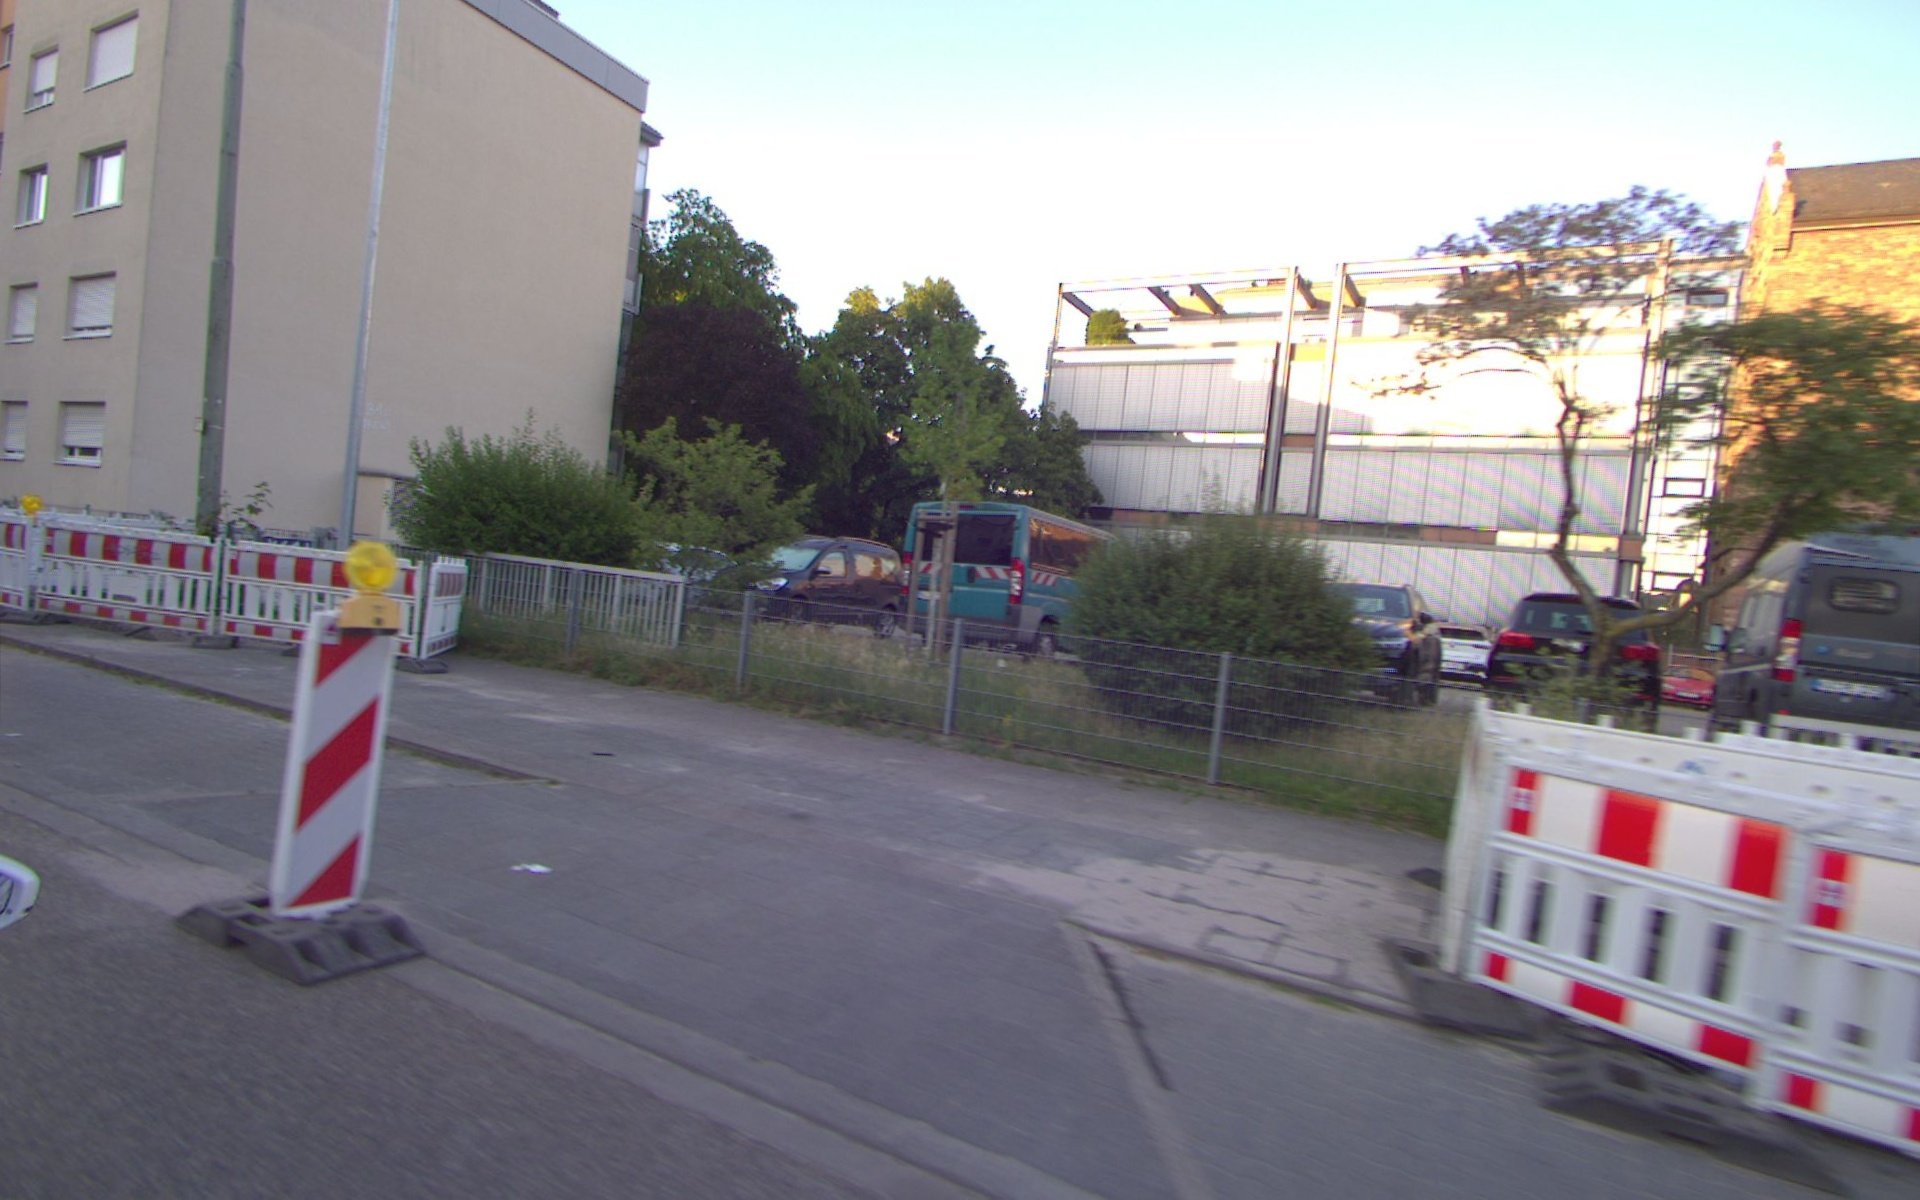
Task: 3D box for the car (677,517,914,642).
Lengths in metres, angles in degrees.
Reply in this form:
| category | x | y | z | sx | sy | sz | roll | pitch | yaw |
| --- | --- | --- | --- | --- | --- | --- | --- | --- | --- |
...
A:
| category | x | y | z | sx | sy | sz | roll | pitch | yaw |
| --- | --- | --- | --- | --- | --- | --- | --- | --- | --- |
| car | -2.882 | -0.292 | 18.537 | 1.966 | 1.849 | 4.217 | 7 | 1 | 30 |

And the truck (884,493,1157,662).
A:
| category | x | y | z | sx | sy | sz | roll | pitch | yaw |
| --- | --- | --- | --- | --- | --- | --- | --- | --- | --- |
| truck | 1.112 | -0.236 | 15.590 | 2.078 | 2.117 | 4.499 | 7 | 1 | 33 |

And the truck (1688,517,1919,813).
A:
| category | x | y | z | sx | sy | sz | roll | pitch | yaw |
| --- | --- | --- | --- | --- | --- | --- | --- | --- | --- |
| truck | 10.080 | 0.733 | 11.366 | 2.302 | 2.650 | 4.960 | 7 | 1 | 31 |

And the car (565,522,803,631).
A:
| category | x | y | z | sx | sy | sz | roll | pitch | yaw |
| --- | --- | --- | --- | --- | --- | --- | --- | --- | --- |
| car | -5.231 | -0.381 | 19.617 | 1.966 | 1.668 | 4.217 | 7 | 1 | 30 |

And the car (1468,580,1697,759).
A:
| category | x | y | z | sx | sy | sz | roll | pitch | yaw |
| --- | --- | --- | --- | --- | --- | --- | --- | --- | --- |
| car | 7.708 | 0.804 | 12.799 | 1.965 | 1.714 | 3.992 | 7 | 1 | 28 |

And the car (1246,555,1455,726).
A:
| category | x | y | z | sx | sy | sz | roll | pitch | yaw |
| --- | --- | --- | --- | --- | --- | --- | --- | --- | --- |
| car | 5.384 | 0.514 | 13.494 | 1.965 | 1.749 | 4.292 | 7 | 1 | 28 |

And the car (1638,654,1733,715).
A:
| category | x | y | z | sx | sy | sz | roll | pitch | yaw |
| --- | --- | --- | --- | --- | --- | --- | --- | --- | --- |
| car | 22.547 | 2.573 | 31.413 | 1.871 | 1.557 | 4.169 | 7 | 1 | 30 |

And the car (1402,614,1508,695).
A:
| category | x | y | z | sx | sy | sz | roll | pitch | yaw |
| --- | --- | --- | --- | --- | --- | --- | --- | --- | --- |
| car | 11.877 | 1.281 | 23.987 | 1.811 | 1.558 | 4.354 | 7 | 1 | 30 |
